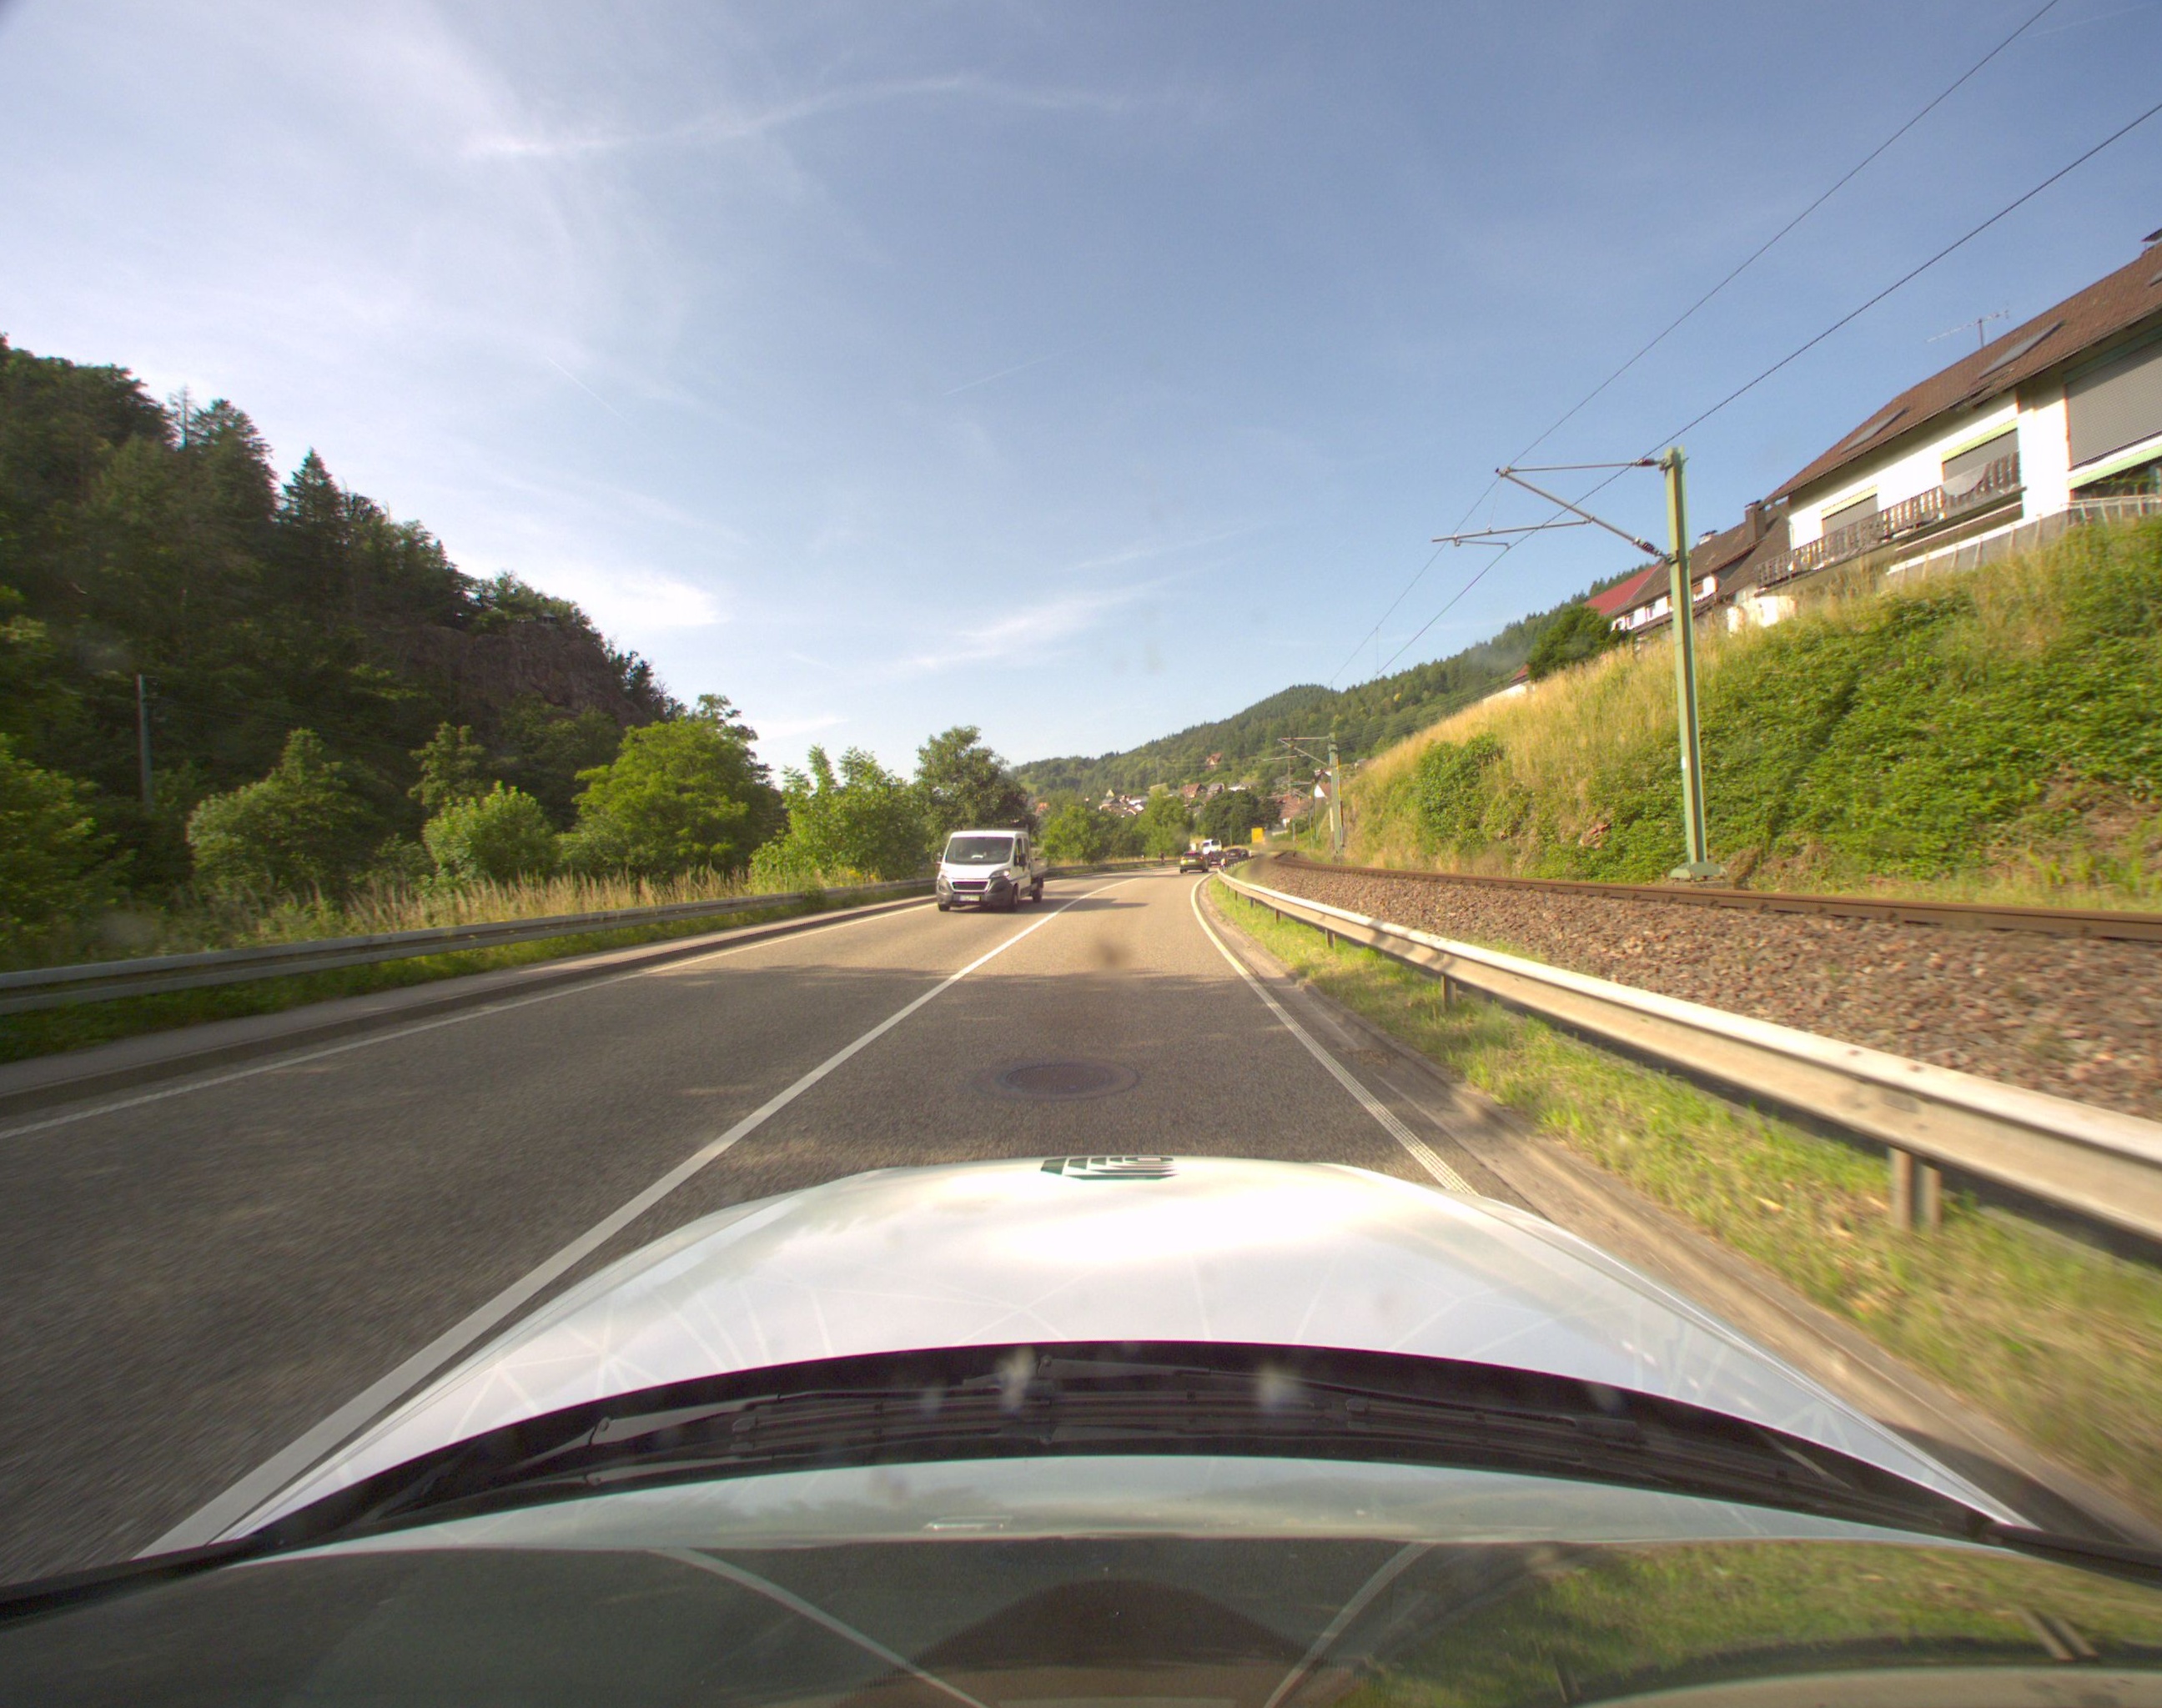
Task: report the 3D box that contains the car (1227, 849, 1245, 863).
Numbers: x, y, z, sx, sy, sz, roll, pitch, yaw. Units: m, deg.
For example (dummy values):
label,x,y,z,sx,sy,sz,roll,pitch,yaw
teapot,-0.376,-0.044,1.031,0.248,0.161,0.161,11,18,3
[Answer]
label,x,y,z,sx,sy,sz,roll,pitch,yaw
car,18.840,0.248,98.732,1.866,1.686,4.015,-1,0,14

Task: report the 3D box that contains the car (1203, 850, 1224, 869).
label,x,y,z,sx,sy,sz,roll,pitch,yaw
car,11.592,0.493,70.926,1.656,1.559,4.012,-1,0,11

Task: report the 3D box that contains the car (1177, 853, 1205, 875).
label,x,y,z,sx,sy,sz,roll,pitch,yaw
car,7.659,0.690,56.569,1.704,1.455,4.011,0,0,10

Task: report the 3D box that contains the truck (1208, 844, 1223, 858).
label,x,y,z,sx,sy,sz,roll,pitch,yaw
truck,30.666,-0.686,185.700,2.699,3.084,6.116,-1,0,4

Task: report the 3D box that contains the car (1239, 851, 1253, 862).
label,x,y,z,sx,sy,sz,roll,pitch,yaw
car,24.691,0.360,121.819,1.836,1.527,3.674,-2,-1,12

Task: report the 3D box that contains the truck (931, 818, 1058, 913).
label,x,y,z,sx,sy,sz,roll,pitch,yaw
truck,-2.261,0.297,23.681,2.145,2.366,6.760,0,0,7

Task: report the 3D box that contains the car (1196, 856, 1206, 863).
label,x,y,z,sx,sy,sz,roll,pitch,yaw
car,26.485,1.138,179.233,1.566,1.479,4.016,4,1,15

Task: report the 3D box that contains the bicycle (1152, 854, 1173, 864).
label,x,y,z,sx,sy,sz,roll,pitch,yaw
bicycle,8.731,0.558,87.343,2.204,1.045,0.562,-1,1,18

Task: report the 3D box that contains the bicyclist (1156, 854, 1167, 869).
label,x,y,z,sx,sy,sz,roll,pitch,yaw
bicyclist,8.657,0.780,87.387,1.023,1.586,0.562,-1,0,20
